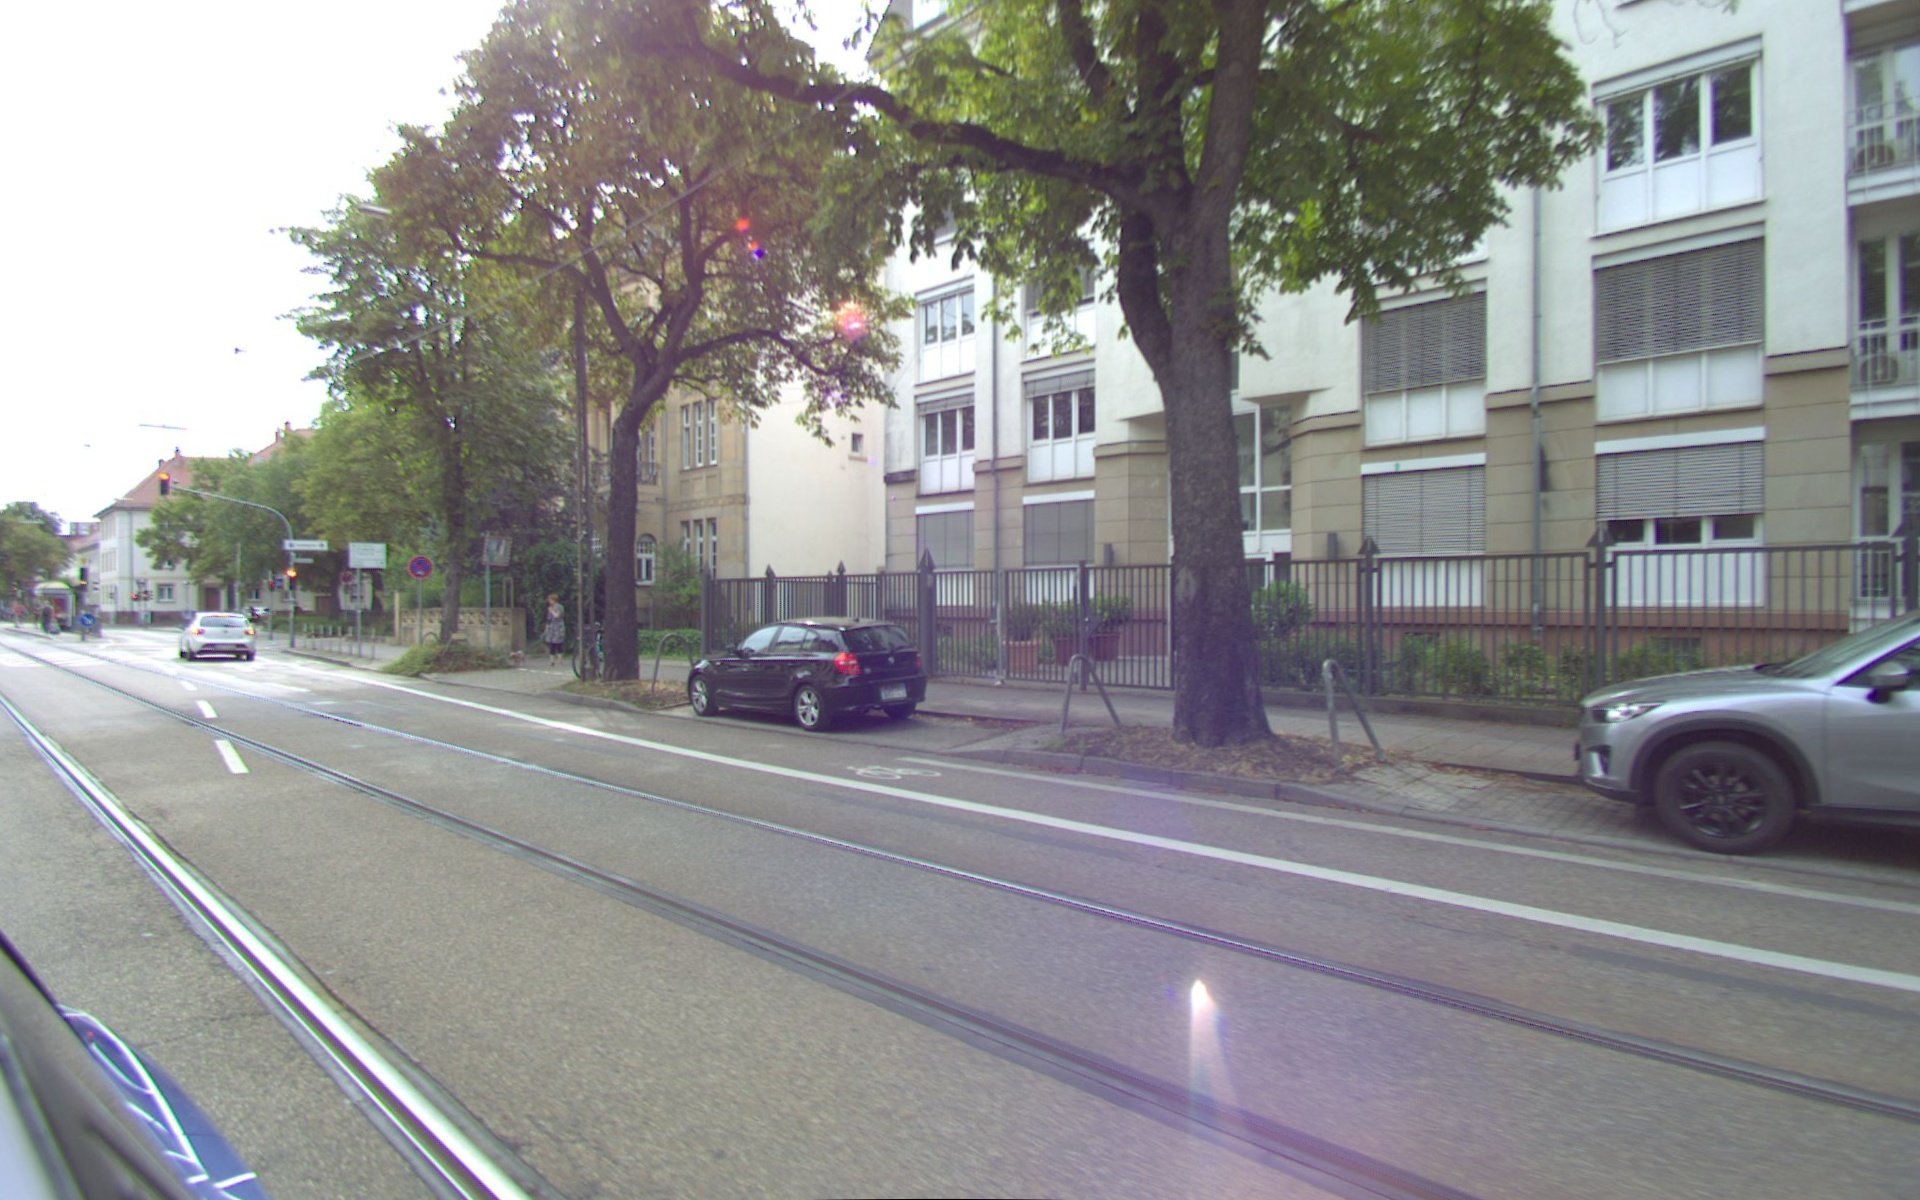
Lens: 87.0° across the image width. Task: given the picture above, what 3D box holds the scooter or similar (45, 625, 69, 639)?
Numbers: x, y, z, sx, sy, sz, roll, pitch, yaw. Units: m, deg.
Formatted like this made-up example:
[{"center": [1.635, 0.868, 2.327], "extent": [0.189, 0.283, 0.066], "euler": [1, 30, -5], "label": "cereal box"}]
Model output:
[{"center": [-45.850, 1.616, 51.393], "extent": [0.659, 0.718, 0.605], "euler": [2, -1, -15], "label": "scooter or similar"}]

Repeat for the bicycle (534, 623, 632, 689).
[{"center": [-7.568, 1.099, 20.454], "extent": [0.826, 1.184, 2.229], "euler": [-1, 0, 10], "label": "bicycle"}]

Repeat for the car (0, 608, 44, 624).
[{"center": [-109.734, 1.818, 118.314], "extent": [3.941, 1.739, 1.878], "euler": [-1, 0, -44], "label": "car"}]

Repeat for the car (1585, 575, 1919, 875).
[{"center": [6.361, 0.694, 5.919], "extent": [4.357, 1.686, 1.691], "euler": [-1, 0, 43], "label": "car"}]

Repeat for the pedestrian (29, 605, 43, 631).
[{"center": [-61.098, 1.184, 66.917], "extent": [0.618, 1.716, 0.581], "euler": [-1, 0, 40], "label": "pedestrian"}]

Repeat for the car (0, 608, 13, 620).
[{"center": [-145.399, 2.173, 152.509], "extent": [3.941, 1.739, 1.878], "euler": [-1, 0, -44], "label": "car"}]

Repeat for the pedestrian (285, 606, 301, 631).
[{"center": [-54.102, 1.505, 82.082], "extent": [0.850, 2.029, 0.766], "euler": [-1, 0, -12], "label": "pedestrian"}]

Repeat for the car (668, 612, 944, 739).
[{"center": [-2.295, 0.937, 14.271], "extent": [1.700, 1.435, 4.168], "euler": [-3, 2, -45], "label": "car"}]

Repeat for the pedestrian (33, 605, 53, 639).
[{"center": [-46.682, 1.130, 51.518], "extent": [0.815, 1.703, 0.675], "euler": [-1, -1, 43], "label": "pedestrian"}]

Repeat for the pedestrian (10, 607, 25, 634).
[{"center": [-65.021, 1.395, 69.816], "extent": [0.463, 1.848, 0.651], "euler": [-1, 0, 30], "label": "pedestrian"}]

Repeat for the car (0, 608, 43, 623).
[{"center": [-116.117, 1.879, 125.152], "extent": [3.941, 1.739, 1.878], "euler": [-1, 0, -44], "label": "car"}]

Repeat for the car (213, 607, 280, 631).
[{"center": [-58.815, 1.527, 83.487], "extent": [4.130, 1.879, 1.858], "euler": [-1, 0, -12], "label": "car"}]

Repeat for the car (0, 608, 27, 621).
[{"center": [-131.284, 2.031, 139.401], "extent": [3.941, 1.739, 1.878], "euler": [-1, 0, -44], "label": "car"}]

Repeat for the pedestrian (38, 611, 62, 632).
[{"center": [-55.320, 1.296, 61.520], "extent": [0.723, 1.246, 1.019], "euler": [-1, 0, 42], "label": "pedestrian"}]

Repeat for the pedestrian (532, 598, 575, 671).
[{"center": [-9.972, 0.826, 24.822], "extent": [0.700, 1.748, 0.698], "euler": [-1, 0, 39], "label": "pedestrian"}]

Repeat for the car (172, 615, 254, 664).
[{"center": [-23.025, 1.192, 31.152], "extent": [1.552, 1.427, 4.004], "euler": [3, -3, -43], "label": "car"}]

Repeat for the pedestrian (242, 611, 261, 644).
[{"center": [-36.947, 1.424, 52.802], "extent": [0.711, 1.703, 0.646], "euler": [-1, -1, 40], "label": "pedestrian"}]
